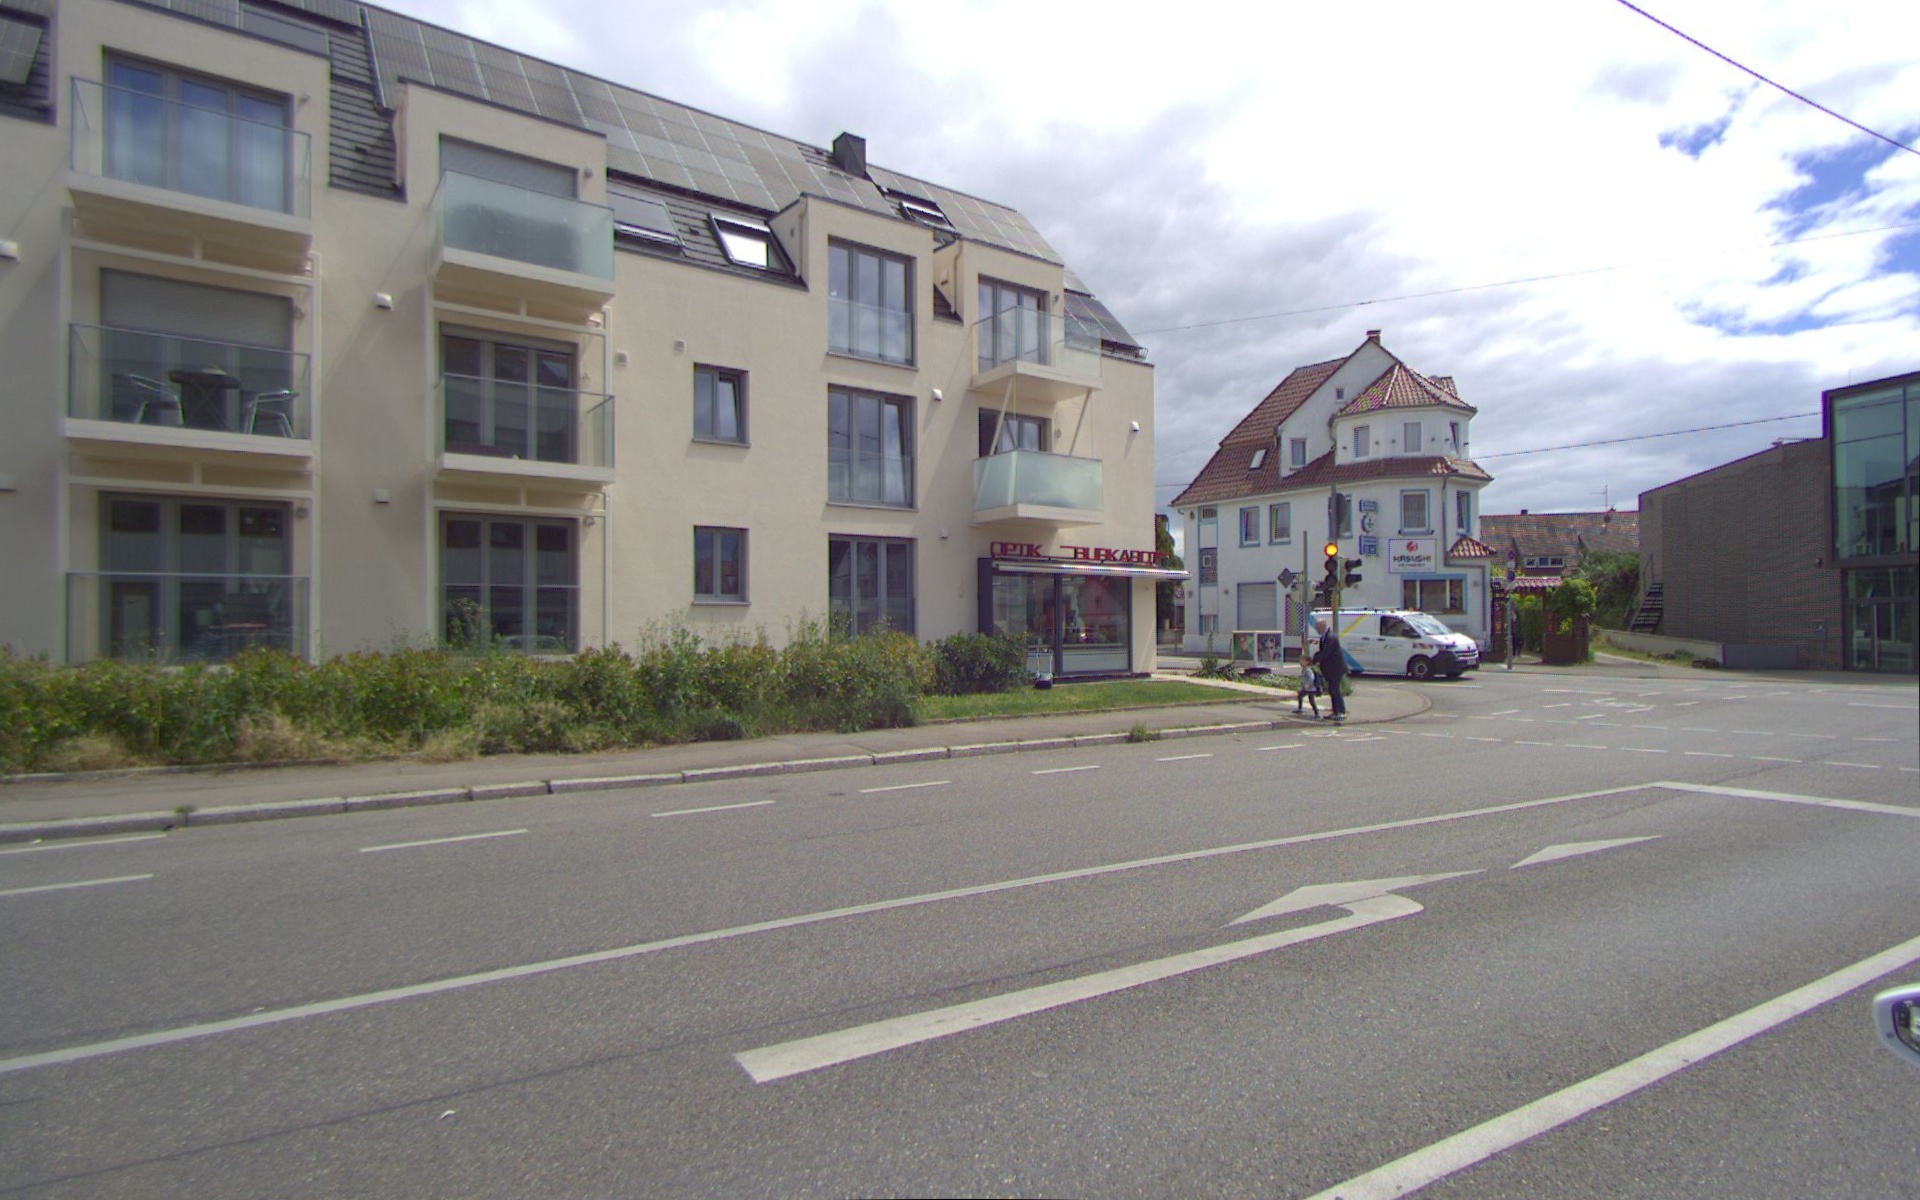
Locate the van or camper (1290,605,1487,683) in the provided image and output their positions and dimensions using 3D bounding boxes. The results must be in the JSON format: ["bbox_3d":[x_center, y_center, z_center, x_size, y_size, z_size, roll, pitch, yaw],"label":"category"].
[{"bbox_3d":[12.597,1.241,29.837,1.983,2.105,5.077,1,-1,-38],"label":"van or camper"}]

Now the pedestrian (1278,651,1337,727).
[{"bbox_3d":[5.934,1.503,17.156,0.640,1.238,0.728,1,-1,-37],"label":"pedestrian"}]

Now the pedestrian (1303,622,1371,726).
[{"bbox_3d":[6.569,1.261,17.504,0.810,1.744,0.816,1,-1,-39],"label":"pedestrian"}]
